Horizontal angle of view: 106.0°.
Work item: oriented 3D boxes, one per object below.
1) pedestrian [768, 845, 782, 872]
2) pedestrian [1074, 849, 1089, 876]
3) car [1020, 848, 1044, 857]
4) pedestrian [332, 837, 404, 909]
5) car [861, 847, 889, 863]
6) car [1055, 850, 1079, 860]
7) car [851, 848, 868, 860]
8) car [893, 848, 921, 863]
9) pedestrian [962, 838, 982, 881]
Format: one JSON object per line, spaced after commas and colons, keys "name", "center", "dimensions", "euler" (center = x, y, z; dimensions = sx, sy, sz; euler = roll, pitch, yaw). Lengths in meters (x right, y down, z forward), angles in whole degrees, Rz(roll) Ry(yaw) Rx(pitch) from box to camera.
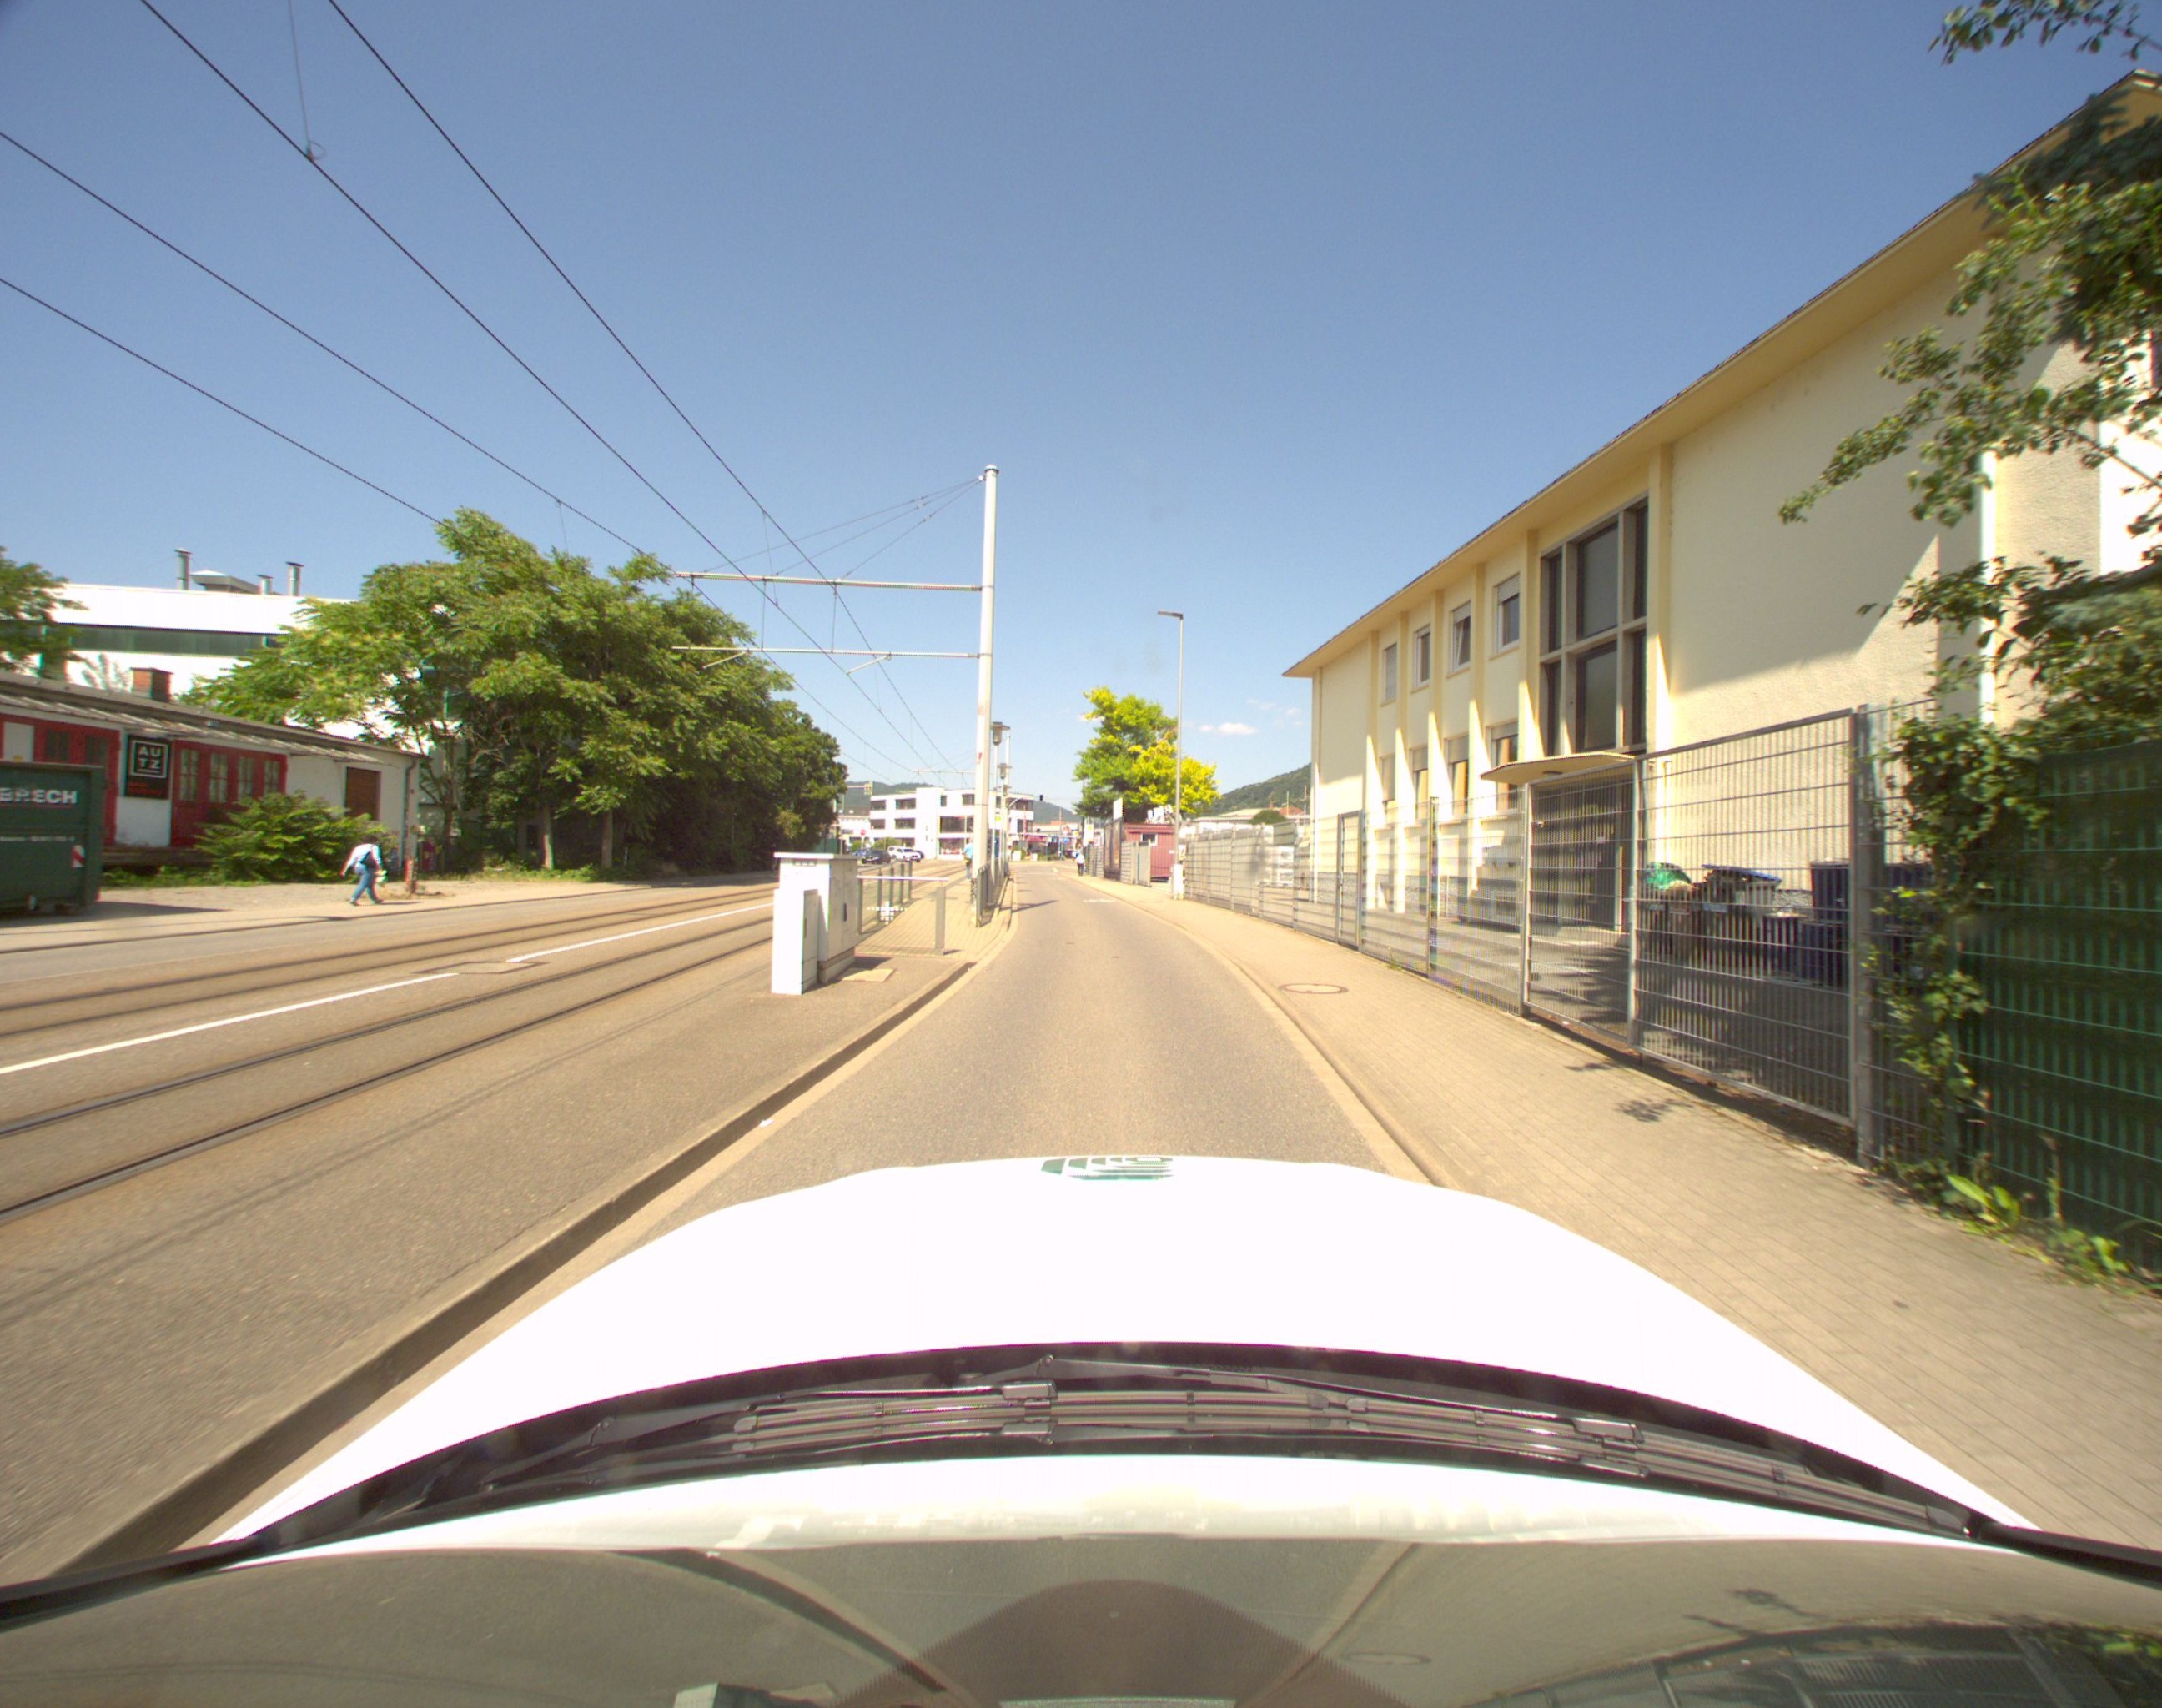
{"name": "pedestrian", "center": [-17.711, 0.267, 47.079], "dimensions": [0.583, 1.537, 0.656], "euler": [0, 0, -5]}
{"name": "pedestrian", "center": [0.043, 0.590, 55.841], "dimensions": [0.938, 1.787, 0.951], "euler": [2, 1, -6]}
{"name": "car", "center": [-8.404, -0.252, 139.089], "dimensions": [1.713, 1.662, 4.024], "euler": [1, 0, 42]}
{"name": "pedestrian", "center": [-15.631, 0.405, 17.869], "dimensions": [0.833, 1.537, 0.837], "euler": [0, 0, -5]}
{"name": "car", "center": [-19.841, 0.111, 78.693], "dimensions": [1.782, 1.552, 3.997], "euler": [0, 0, -2]}
{"name": "car", "center": [-2.389, 0.158, 137.521], "dimensions": [1.841, 1.662, 4.025], "euler": [1, 0, 40]}
{"name": "car", "center": [-28.098, 0.039, 103.194], "dimensions": [1.762, 1.489, 3.737], "euler": [0, 0, -19]}
{"name": "car", "center": [-19.843, 0.135, 92.787], "dimensions": [1.770, 1.647, 3.719], "euler": [0, 0, -38]}
{"name": "pedestrian", "center": [-4.451, 0.228, 33.239], "dimensions": [0.742, 1.740, 0.726], "euler": [0, 0, -5]}
